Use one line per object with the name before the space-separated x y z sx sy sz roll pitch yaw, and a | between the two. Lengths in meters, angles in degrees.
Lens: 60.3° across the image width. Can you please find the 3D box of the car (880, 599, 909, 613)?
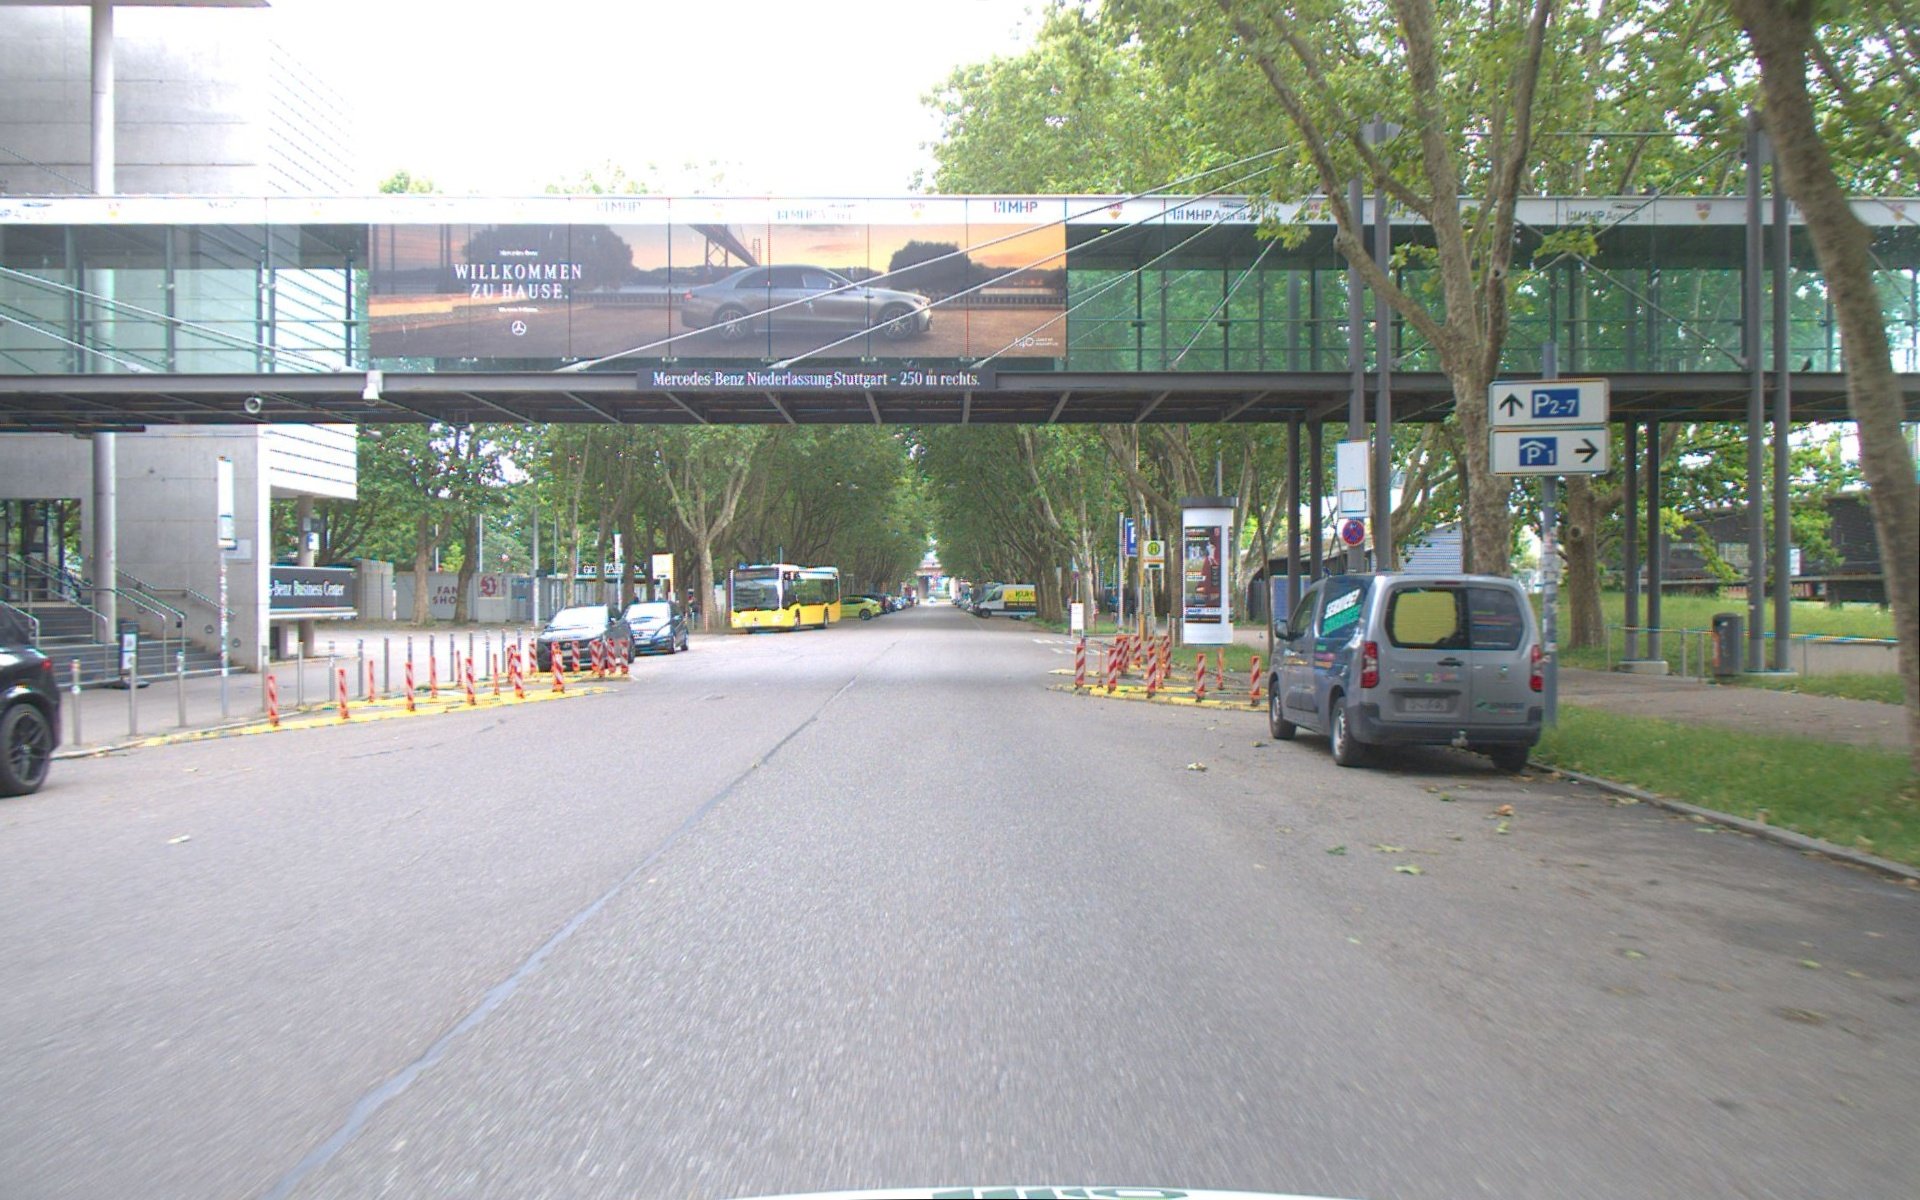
car | -9.116 0.816 230.979 3.905 2.004 2.000 0 0 0

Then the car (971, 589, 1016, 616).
car | 2.906 0.231 145.220 3.906 2.380 1.542 0 0 -2

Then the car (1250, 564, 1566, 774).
car | 4.403 0.610 17.164 1.809 1.814 5.210 1 0 0

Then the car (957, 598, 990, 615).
car | 1.461 0.669 180.350 3.548 1.825 1.542 0 0 -1

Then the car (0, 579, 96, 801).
car | -8.895 0.804 12.581 1.993 1.820 4.907 -3 0 0

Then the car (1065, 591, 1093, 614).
car | 9.625 0.185 133.764 1.953 1.803 4.000 0 0 0

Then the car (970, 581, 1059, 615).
car | 4.128 -0.145 127.146 6.686 2.557 2.315 0 0 -3

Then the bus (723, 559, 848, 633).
bus | -8.296 -0.192 80.792 2.974 3.215 12.687 -2 0 8

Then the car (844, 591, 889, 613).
car | -7.718 0.186 136.646 3.705 1.825 1.542 0 0 -2

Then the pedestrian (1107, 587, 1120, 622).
pedestrian | 8.414 0.250 90.688 0.562 1.921 0.616 0 0 -9

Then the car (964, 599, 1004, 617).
car | 2.419 0.790 165.800 3.906 1.825 1.542 0 0 -2

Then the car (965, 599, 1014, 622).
car | 2.406 0.835 134.570 3.906 1.825 1.542 0 0 -2

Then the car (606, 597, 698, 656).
car | -9.317 0.777 50.330 1.953 1.612 4.113 -3 0 0

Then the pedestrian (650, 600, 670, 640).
pedestrian | -12.424 0.814 68.502 0.659 1.631 0.606 0 0 -26

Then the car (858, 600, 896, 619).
car | -8.069 0.914 160.840 3.584 1.896 1.625 0 0 2

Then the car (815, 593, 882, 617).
car | -7.887 0.353 116.911 4.604 1.612 1.864 0 0 0

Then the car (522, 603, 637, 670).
car | -9.472 0.873 41.516 1.820 1.478 4.448 -3 0 0

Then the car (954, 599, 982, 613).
car | 1.129 0.844 230.904 3.905 1.894 1.637 0 0 0
